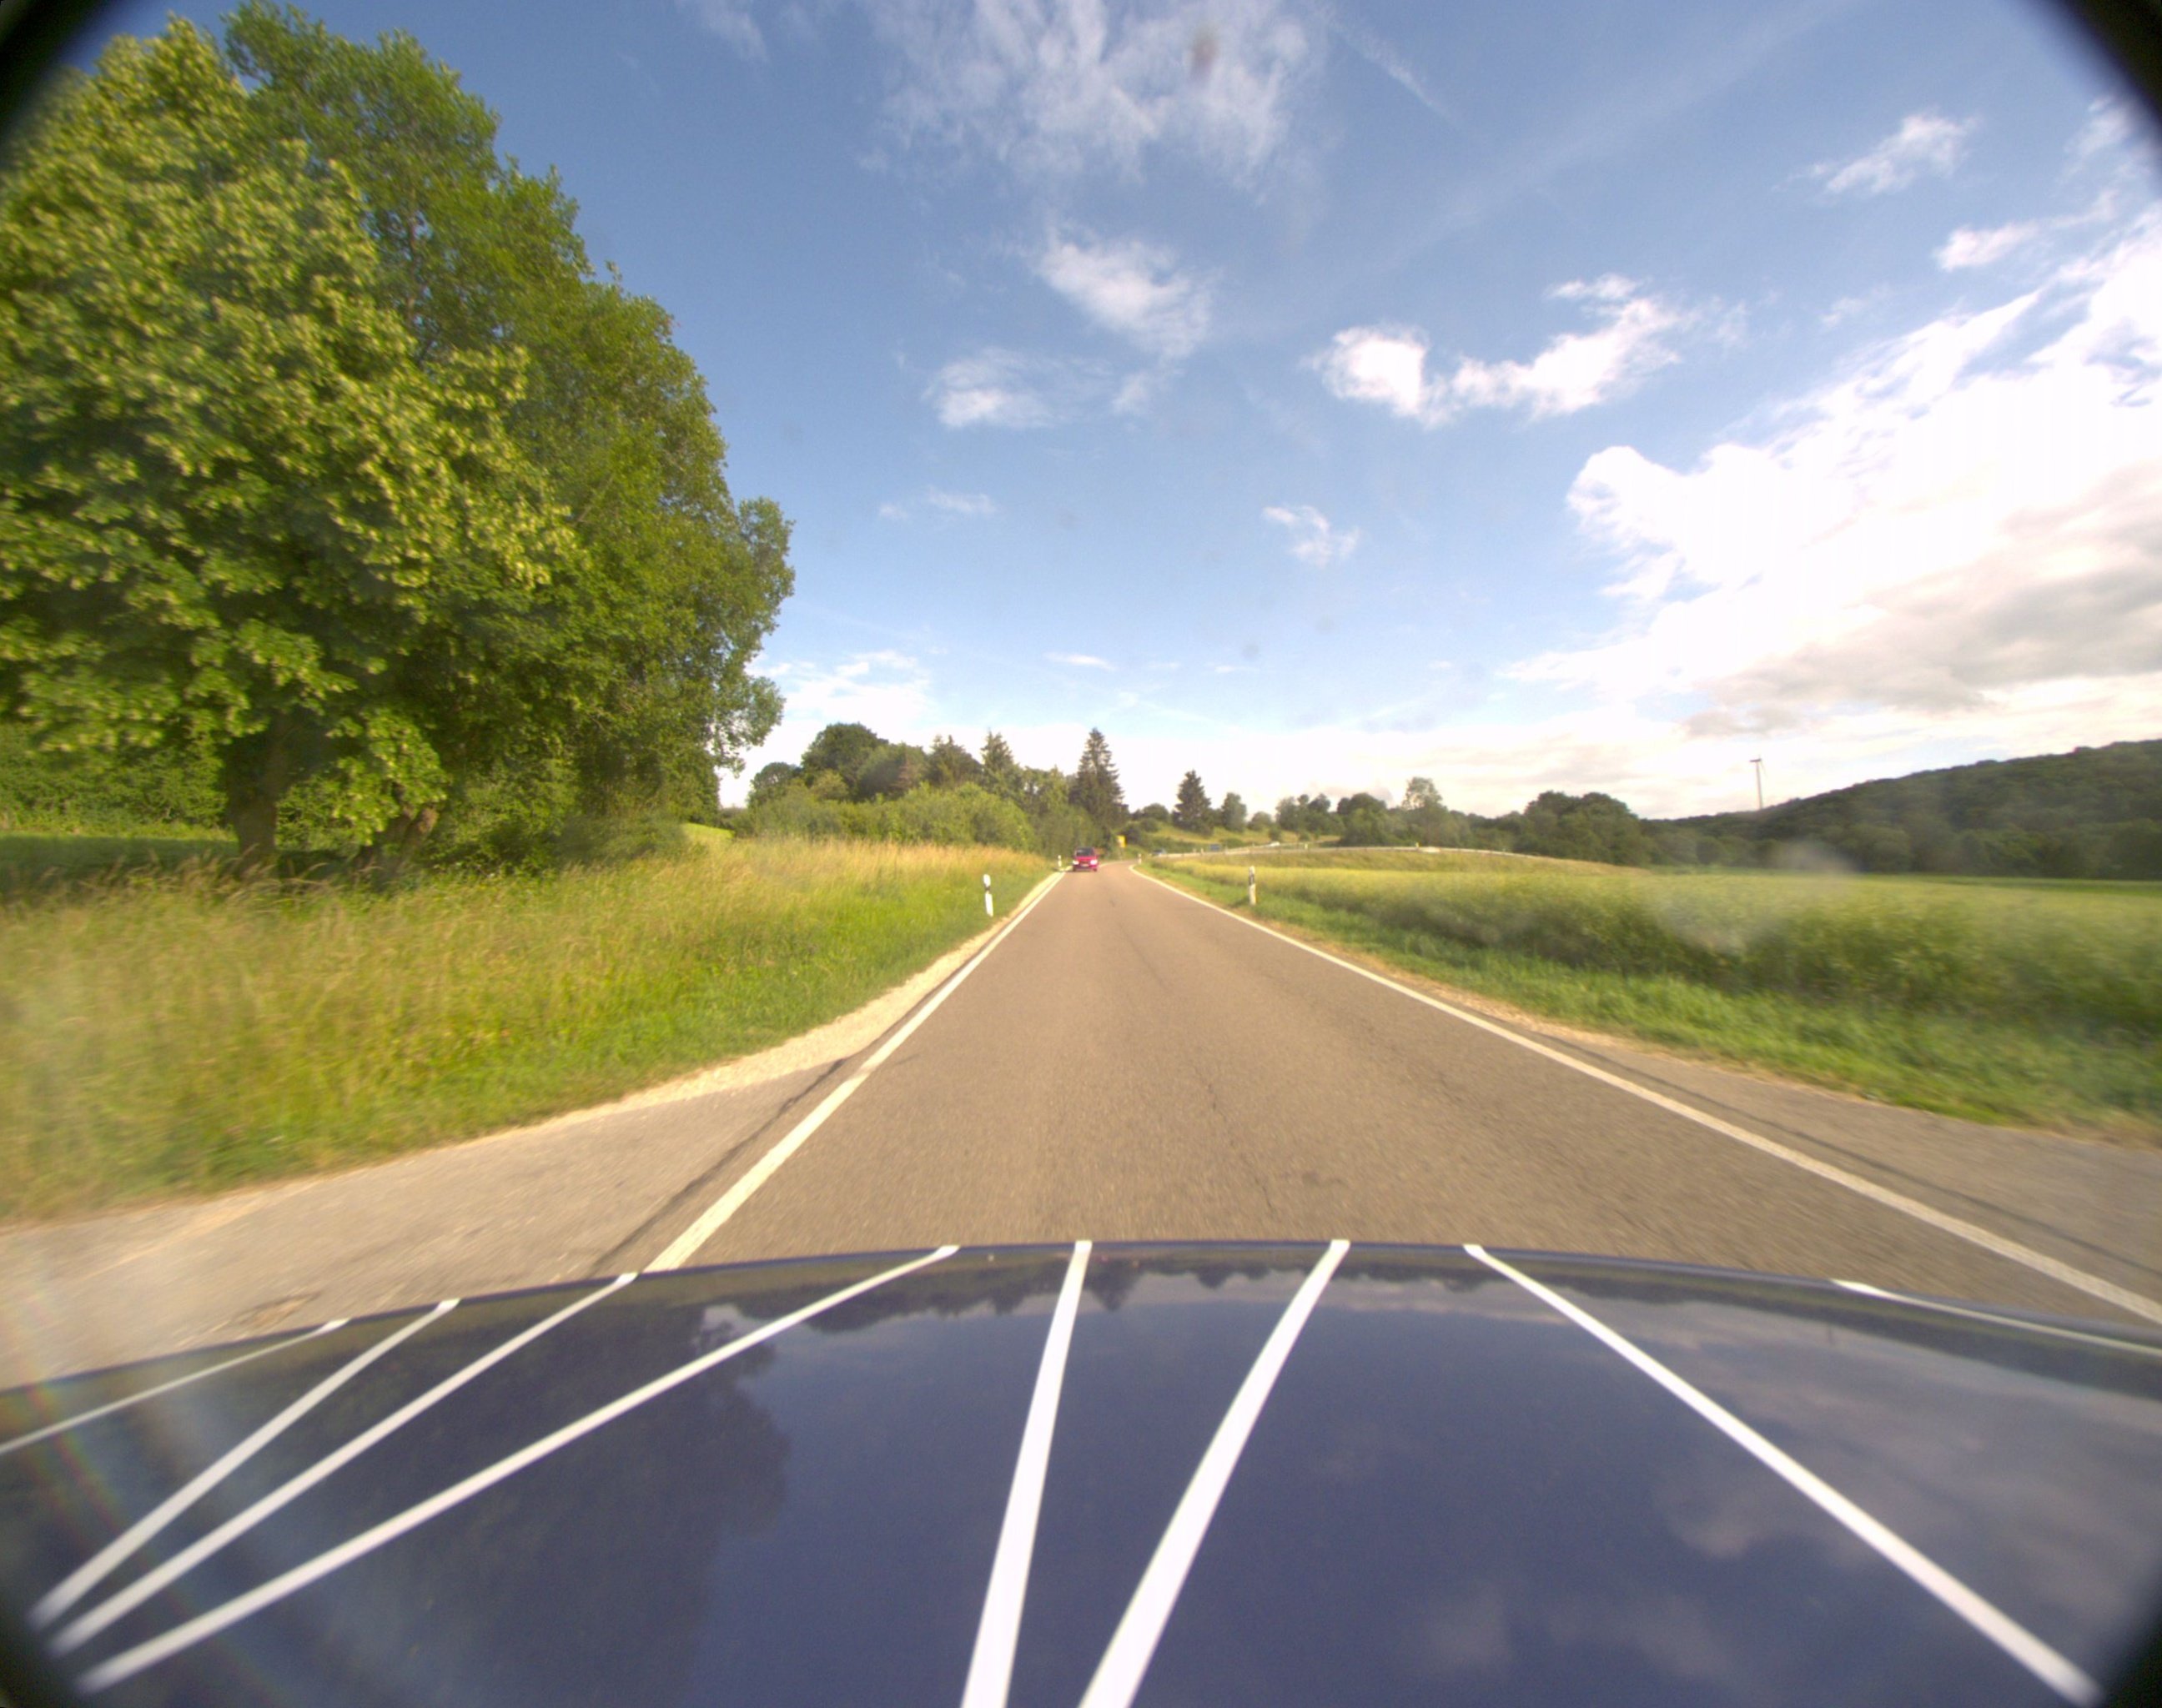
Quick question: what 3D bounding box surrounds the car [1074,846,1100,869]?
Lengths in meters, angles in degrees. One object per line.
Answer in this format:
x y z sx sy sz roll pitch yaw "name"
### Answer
0.484 0.240 55.353 1.821 1.645 4.000 0 0 1 "car"
